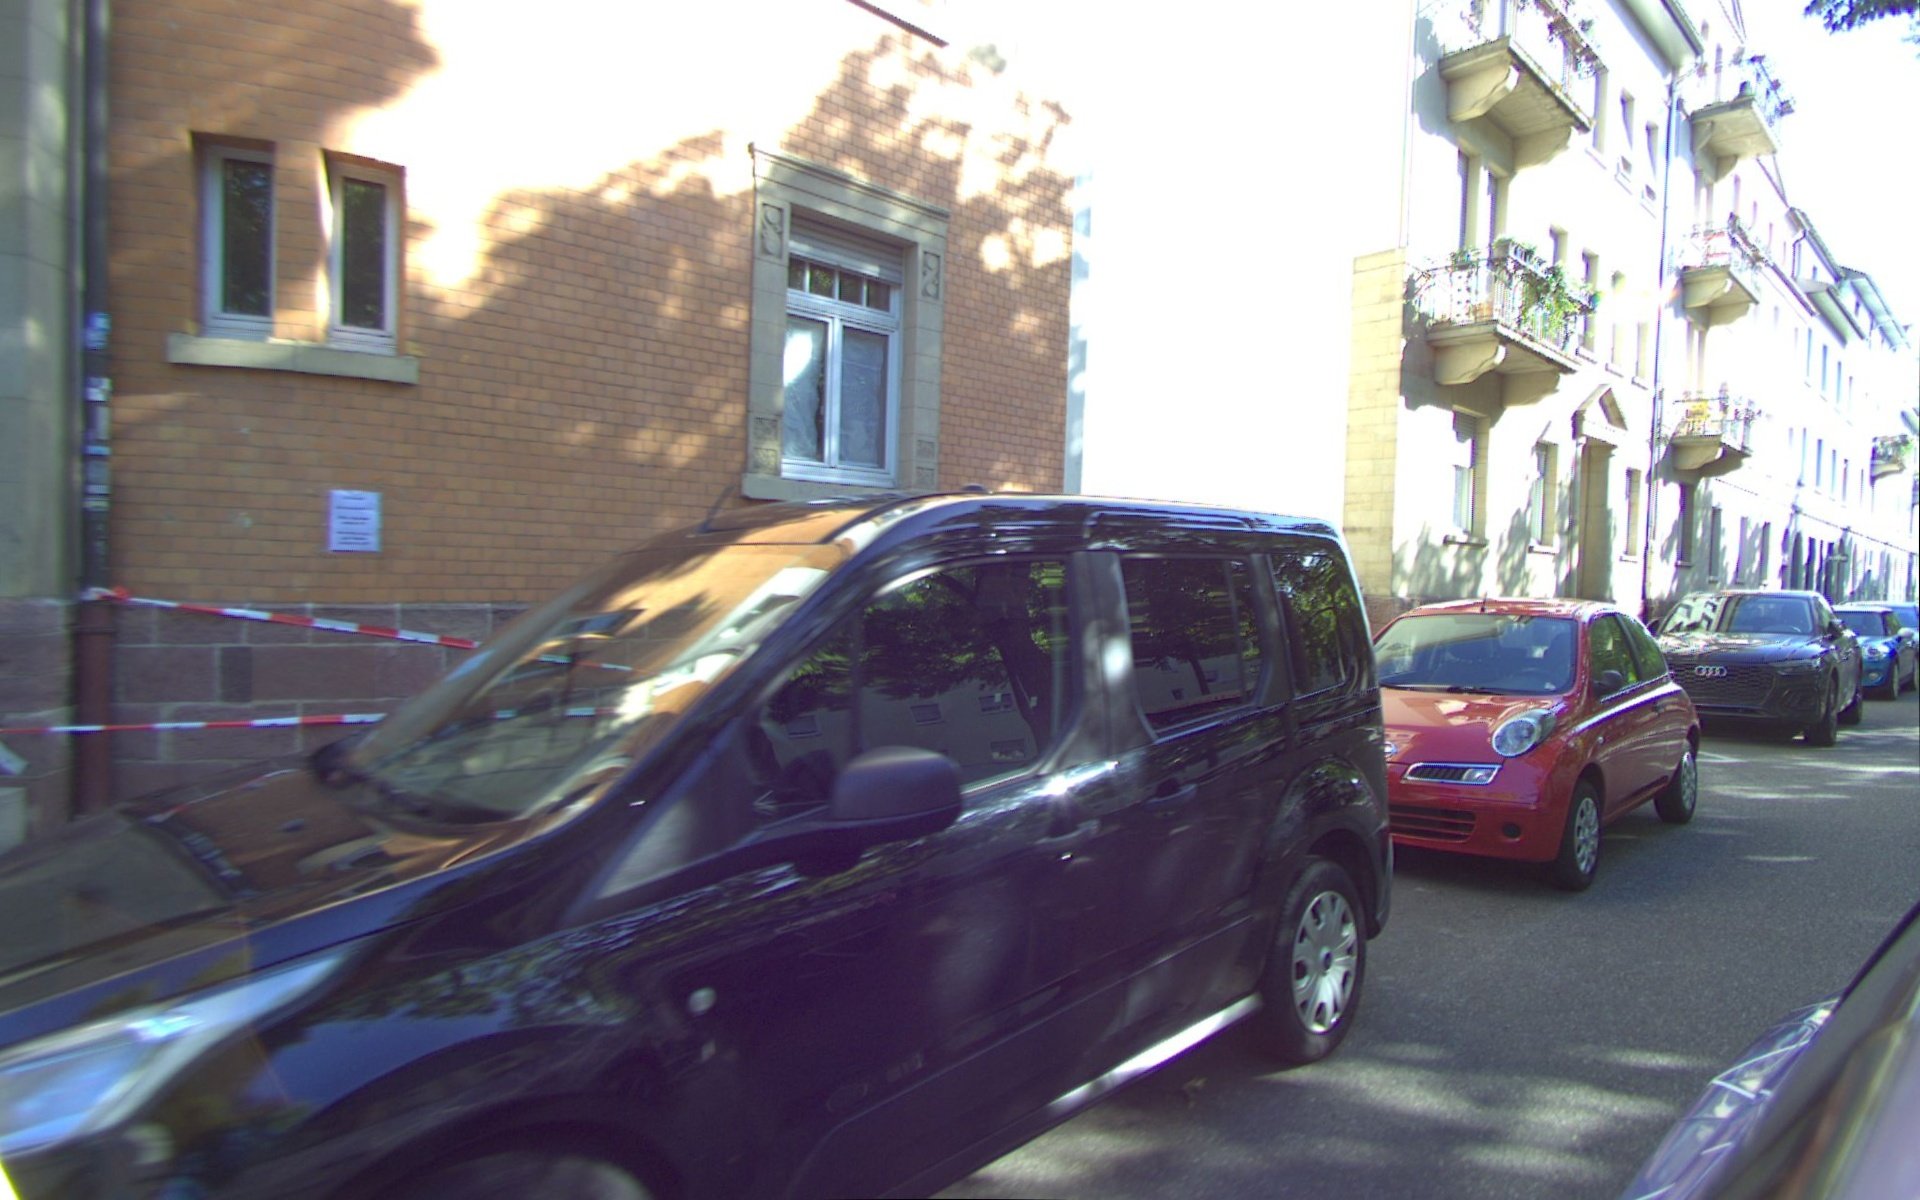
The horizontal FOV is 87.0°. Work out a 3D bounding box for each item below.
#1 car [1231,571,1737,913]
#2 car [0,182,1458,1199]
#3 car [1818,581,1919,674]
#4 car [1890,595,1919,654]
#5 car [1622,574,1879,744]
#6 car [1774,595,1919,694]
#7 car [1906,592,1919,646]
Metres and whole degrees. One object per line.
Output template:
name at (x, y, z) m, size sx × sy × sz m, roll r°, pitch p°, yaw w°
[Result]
car at (3.572, 0.647, 6.563) m, size 3.932 × 1.557 × 1.647 m, roll 0°, pitch 0°, yaw -42°
car at (-0.327, 0.490, 2.996) m, size 4.200 × 1.895 × 1.803 m, roll 0°, pitch -1°, yaw -42°
car at (18.261, 0.486, 19.753) m, size 4.248 × 1.583 × 1.808 m, roll 0°, pitch 3°, yaw -43°
car at (25.900, 0.620, 26.660) m, size 3.936 × 1.486 × 1.695 m, roll 0°, pitch 1°, yaw -42°
car at (9.562, 0.554, 12.099) m, size 4.418 × 1.664 × 1.865 m, roll 0°, pitch 1°, yaw -45°
car at (14.808, 0.642, 16.646) m, size 3.568 × 1.433 × 1.593 m, roll 0°, pitch 1°, yaw -41°
car at (29.806, 0.550, 30.367) m, size 4.112 × 1.571 × 1.769 m, roll 0°, pitch 0°, yaw -43°
